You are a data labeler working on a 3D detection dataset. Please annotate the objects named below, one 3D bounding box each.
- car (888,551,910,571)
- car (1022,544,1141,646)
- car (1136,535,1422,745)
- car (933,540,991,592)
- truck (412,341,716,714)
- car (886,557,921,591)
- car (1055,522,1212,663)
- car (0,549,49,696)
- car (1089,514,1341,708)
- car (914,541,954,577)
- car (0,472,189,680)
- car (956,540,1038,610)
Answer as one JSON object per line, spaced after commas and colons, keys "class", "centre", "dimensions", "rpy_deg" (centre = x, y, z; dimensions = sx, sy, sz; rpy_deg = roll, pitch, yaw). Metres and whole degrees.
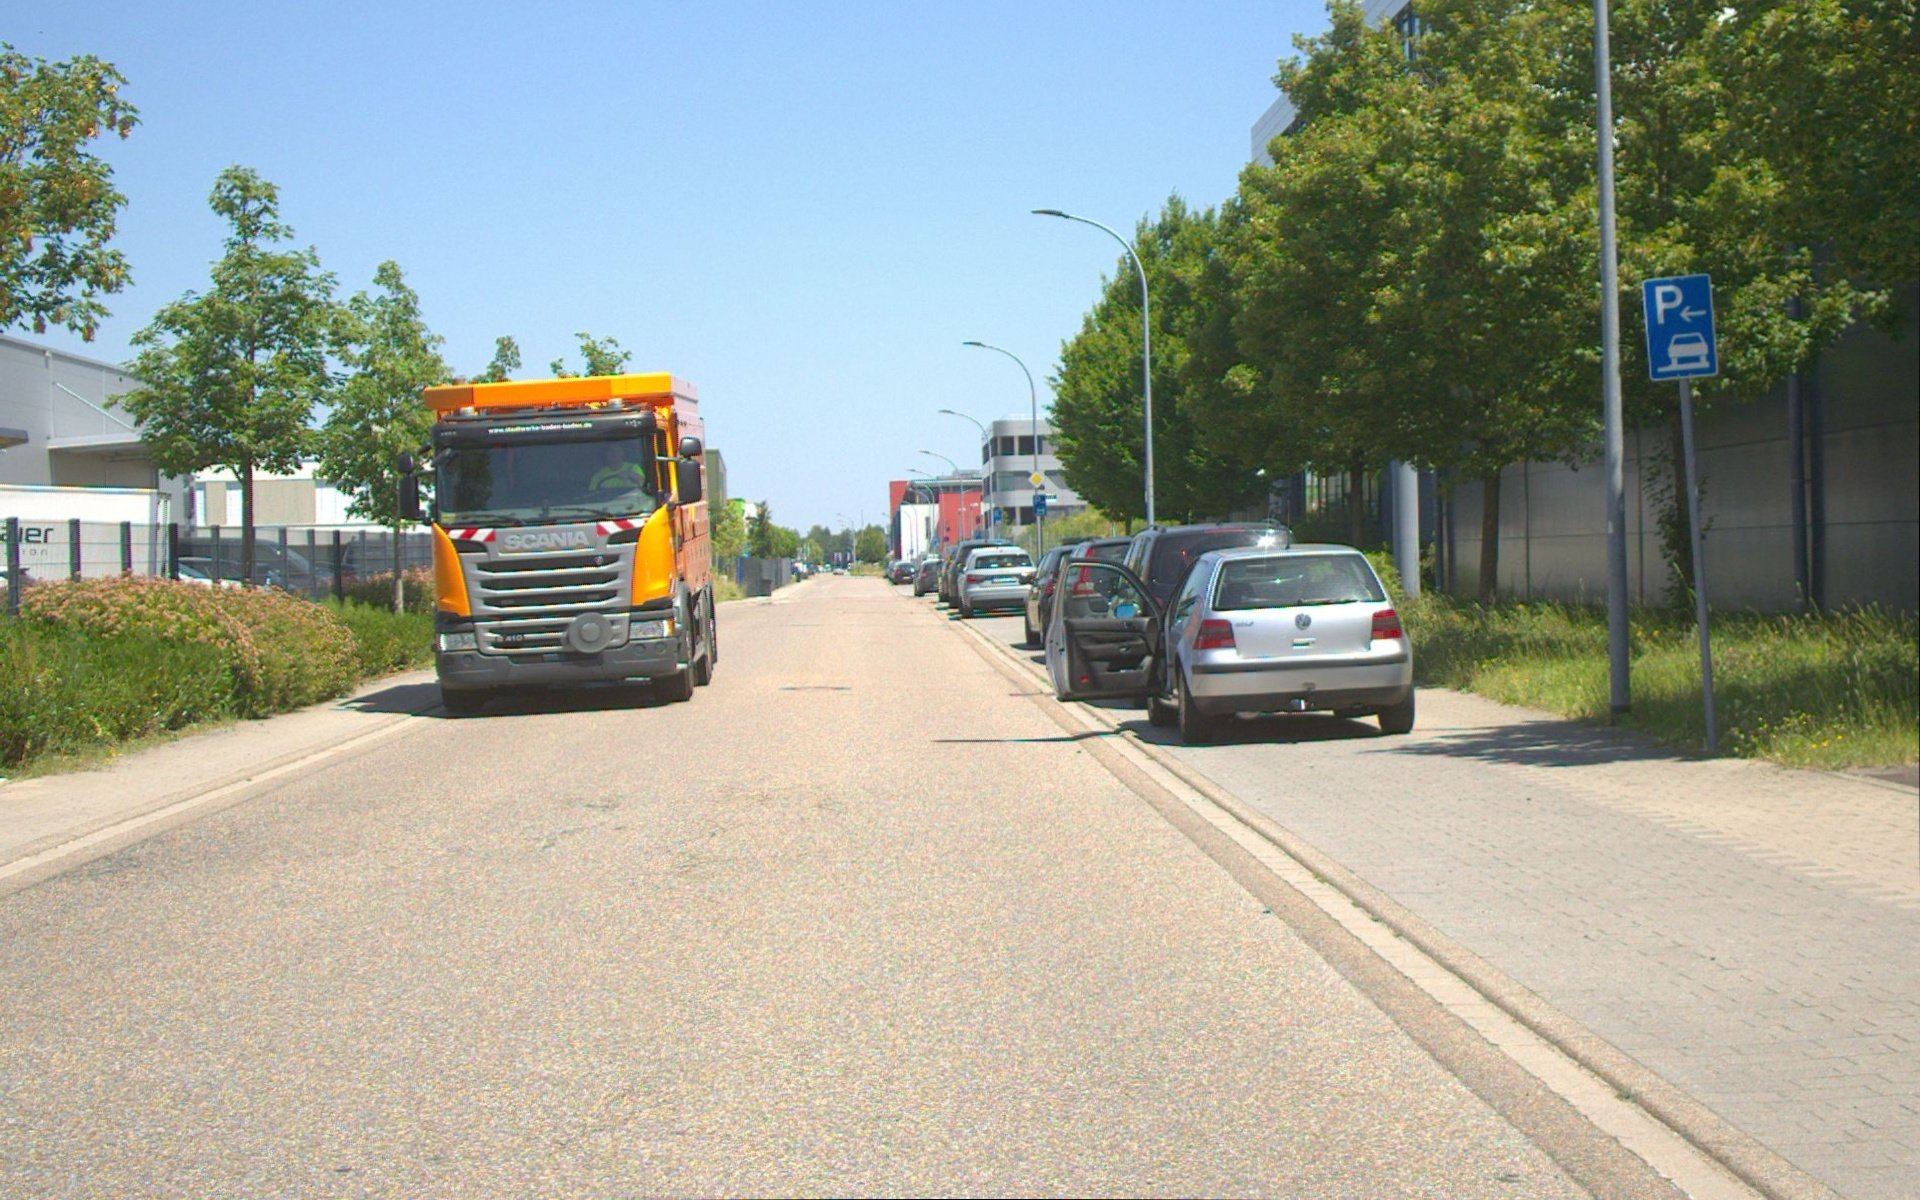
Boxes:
{"class": "car", "centre": [-4.399, -2.831, 248.718], "dimensions": [1.495, 1.405, 3.500], "rpy_deg": [-2, 1, -2]}
{"class": "car", "centre": [1.758, -0.100, 50.690], "dimensions": [1.495, 1.405, 3.500], "rpy_deg": [-2, 1, -2]}
{"class": "car", "centre": [2.386, 0.264, 26.515], "dimensions": [1.718, 1.445, 3.646], "rpy_deg": [-2, 1, -2]}
{"class": "car", "centre": [0.036, -0.968, 96.673], "dimensions": [1.495, 1.405, 3.500], "rpy_deg": [-2, 1, -2]}
{"class": "truck", "centre": [-4.116, -0.791, 37.374], "dimensions": [2.448, 3.501, 8.273], "rpy_deg": [-3, 1, -2]}
{"class": "car", "centre": [-2.530, -1.168, 153.467], "dimensions": [1.495, 1.405, 3.500], "rpy_deg": [-2, 1, -2]}
{"class": "car", "centre": [2.195, -0.131, 44.365], "dimensions": [1.721, 1.688, 3.984], "rpy_deg": [-2, 1, -1]}
{"class": "car", "centre": [-12.163, 0.281, 38.504], "dimensions": [3.488, 1.605, 1.500], "rpy_deg": [-2, 1, -2]}
{"class": "car", "centre": [2.345, 0.067, 32.554], "dimensions": [1.678, 1.680, 4.001], "rpy_deg": [-2, 1, -6]}
{"class": "car", "centre": [-1.047, -1.648, 137.804], "dimensions": [1.495, 1.405, 3.500], "rpy_deg": [-2, 1, -2]}
{"class": "car", "centre": [-12.518, -0.278, 44.385], "dimensions": [4.714, 2.577, 2.000], "rpy_deg": [-2, 1, -5]}
{"class": "car", "centre": [0.774, -0.549, 73.495], "dimensions": [1.585, 1.405, 3.500], "rpy_deg": [-2, 1, -2]}
